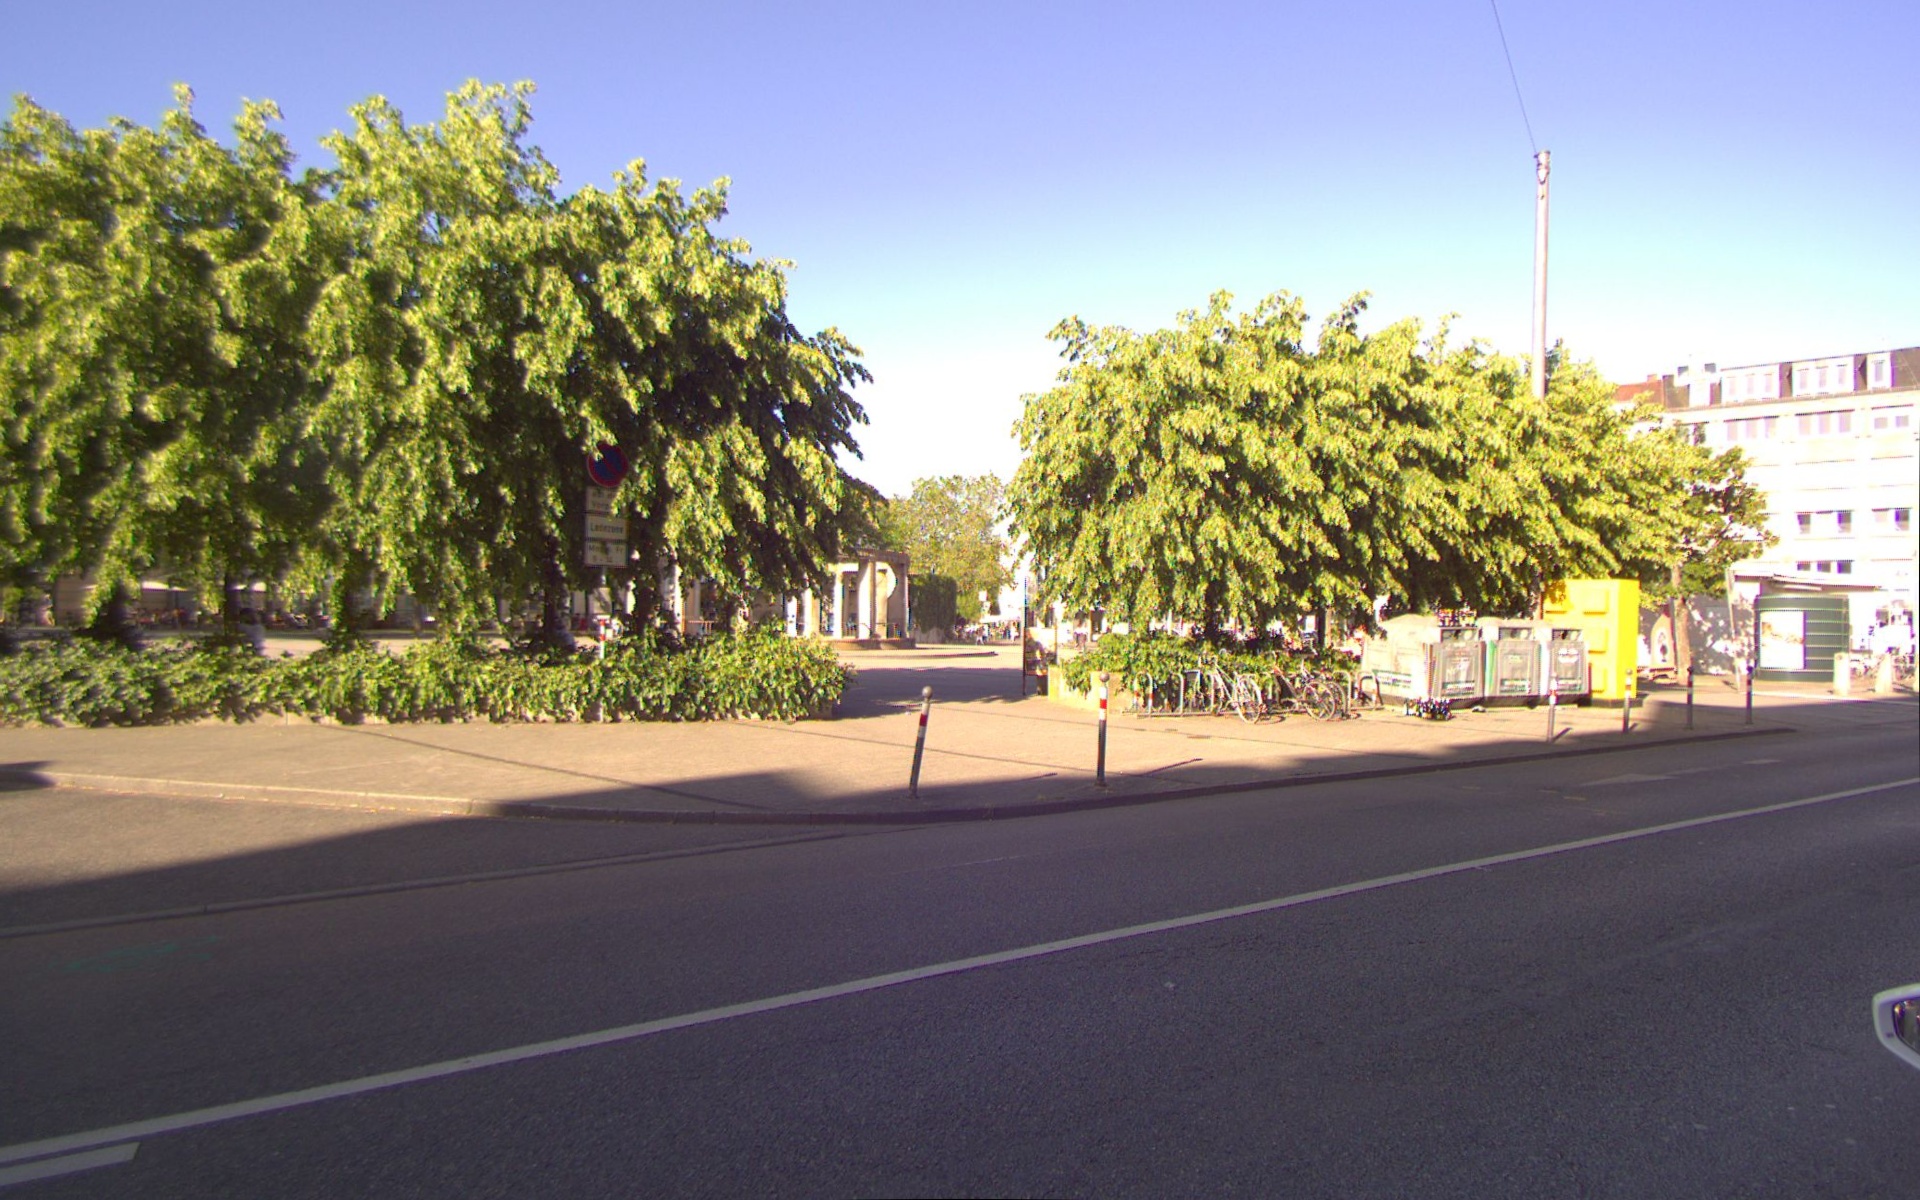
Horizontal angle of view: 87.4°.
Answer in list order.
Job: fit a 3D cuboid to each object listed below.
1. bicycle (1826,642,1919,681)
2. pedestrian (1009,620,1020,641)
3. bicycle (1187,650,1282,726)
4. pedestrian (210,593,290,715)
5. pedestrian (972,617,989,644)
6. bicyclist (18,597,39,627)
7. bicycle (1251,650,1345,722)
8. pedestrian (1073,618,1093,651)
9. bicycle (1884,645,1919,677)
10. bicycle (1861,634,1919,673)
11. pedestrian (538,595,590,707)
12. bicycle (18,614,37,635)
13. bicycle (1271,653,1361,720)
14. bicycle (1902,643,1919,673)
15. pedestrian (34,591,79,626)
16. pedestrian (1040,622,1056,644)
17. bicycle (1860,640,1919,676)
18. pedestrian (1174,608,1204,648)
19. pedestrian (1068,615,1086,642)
[{"bbox_3d":[30.911,2.056,33.864,0.833,1.171,2.493,1,-1,-31],"label":"bicycle"},{"bbox_3d":[5.235,2.919,97.045,0.887,2.040,1.285,1,-1,-2],"label":"pedestrian"},{"bbox_3d":[4.223,1.325,15.542,0.425,1.031,1.590,1,0,-28],"label":"bicycle"},{"bbox_3d":[-10.746,0.806,15.233,0.725,1.781,0.895,1,-1,-19],"label":"pedestrian"},{"bbox_3d":[1.538,2.342,76.863,0.807,2.040,1.043,1,-1,-42],"label":"pedestrian"},{"bbox_3d":[-45.400,0.575,48.968,0.668,1.447,0.690,1,-1,-40],"label":"bicyclist"},{"bbox_3d":[5.392,1.358,16.125,0.425,1.036,1.561,1,-1,-28],"label":"bicycle"},{"bbox_3d":[7.579,2.114,61.987,0.889,2.040,0.990,1,-1,-15],"label":"pedestrian"},{"bbox_3d":[36.760,2.326,38.024,0.834,1.171,2.517,1,-1,-34],"label":"bicycle"},{"bbox_3d":[34.487,1.942,36.517,0.913,1.341,2.461,1,-1,-35],"label":"bicycle"},{"bbox_3d":[-6.495,0.816,16.528,0.725,1.781,0.895,1,-1,-19],"label":"pedestrian"},{"bbox_3d":[-45.330,1.174,48.838,0.584,0.966,1.884,1,-1,-40],"label":"bicycle"},{"bbox_3d":[5.806,1.385,16.449,0.425,0.971,1.518,0,0,-28],"label":"bicycle"},{"bbox_3d":[38.741,2.316,39.530,0.834,1.171,2.308,1,-1,-34],"label":"bicycle"},{"bbox_3d":[-50.728,0.464,56.407,1.233,1.937,1.451,1,0,19],"label":"pedestrian"},{"bbox_3d":[8.450,3.162,96.606,1.252,2.040,1.285,1,-1,-4],"label":"pedestrian"},{"bbox_3d":[33.127,2.036,35.028,0.833,1.171,2.449,1,-1,-31],"label":"bicycle"},{"bbox_3d":[11.679,1.425,51.311,0.890,2.040,1.398,1,-1,-17],"label":"pedestrian"},{"bbox_3d":[8.781,2.134,75.562,0.890,2.040,1.280,1,0,-18],"label":"pedestrian"}]
